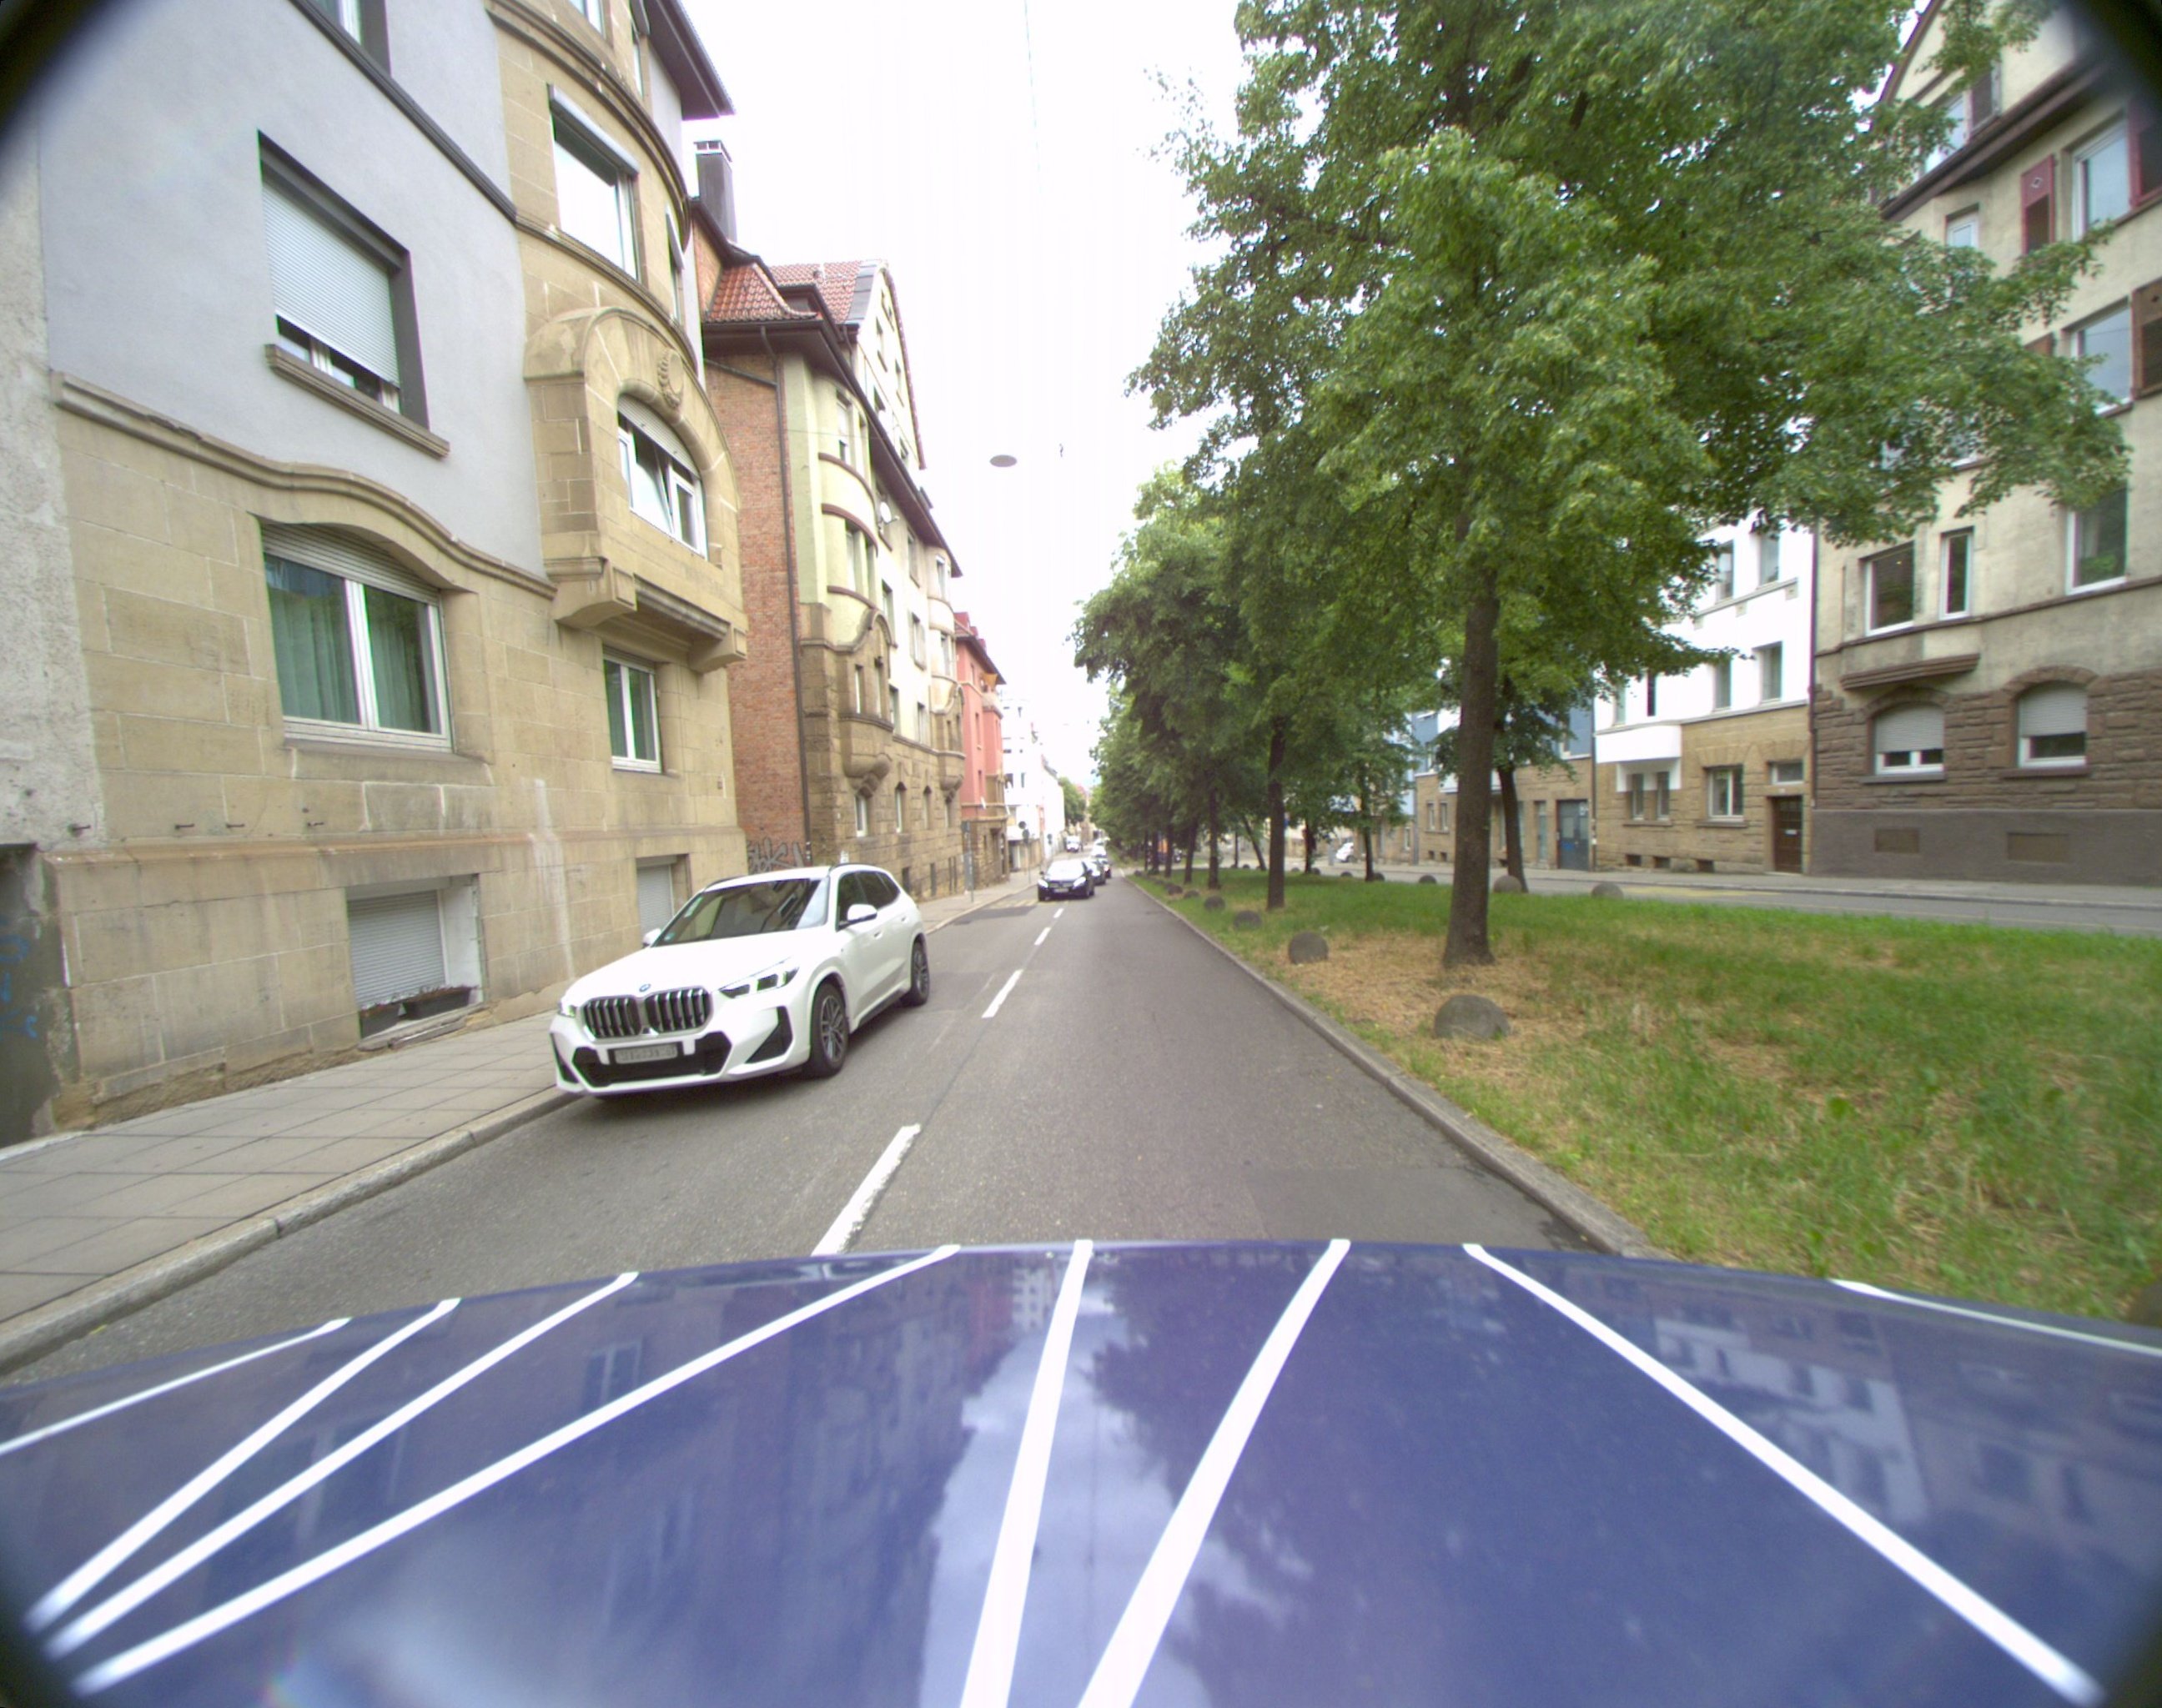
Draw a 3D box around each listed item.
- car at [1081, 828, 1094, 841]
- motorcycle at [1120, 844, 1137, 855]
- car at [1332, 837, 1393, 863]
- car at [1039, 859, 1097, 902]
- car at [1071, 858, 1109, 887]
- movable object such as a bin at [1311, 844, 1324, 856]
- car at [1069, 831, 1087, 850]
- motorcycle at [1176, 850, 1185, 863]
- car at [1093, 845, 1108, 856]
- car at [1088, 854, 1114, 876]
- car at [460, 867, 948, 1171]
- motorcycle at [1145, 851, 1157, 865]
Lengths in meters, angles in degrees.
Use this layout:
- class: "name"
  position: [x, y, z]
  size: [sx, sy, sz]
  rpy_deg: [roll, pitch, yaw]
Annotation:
- class: "car"
  position: [1.683, -5.077, 197.065]
  size: [3.026, 3.045, 7.165]
  rpy_deg: [-2, 3, 0]
- class: "motorcycle"
  position: [5.932, -0.571, 95.038]
  size: [2.040, 1.126, 0.454]
  rpy_deg: [-3, 4, 2]
- class: "car"
  position: [22.044, -0.314, 59.564]
  size: [4.007, 1.462, 1.870]
  rpy_deg: [-7, 3, -1]
- class: "car"
  position: [-0.411, 0.939, 28.736]
  size: [1.854, 1.361, 4.281]
  rpy_deg: [-4, 0, 3]
- class: "car"
  position: [0.547, 1.016, 42.739]
  size: [1.854, 1.361, 4.281]
  rpy_deg: [-4, 0, 3]
- class: "movable object such as a bin"
  position: [20.837, -0.343, 66.959]
  size: [0.888, 0.988, 0.668]
  rpy_deg: [-5, 2, 0]
- class: "car"
  position: [-0.543, -2.435, 135.075]
  size: [3.026, 3.045, 7.165]
  rpy_deg: [-2, 3, 0]
- class: "motorcycle"
  position: [8.997, 0.223, 68.679]
  size: [0.750, 1.068, 1.851]
  rpy_deg: [-3, 4, 9]
- class: "car"
  position: [2.552, -0.452, 98.910]
  size: [1.783, 1.420, 4.281]
  rpy_deg: [-1, 0, 2]
- class: "car"
  position: [1.441, 0.764, 54.002]
  size: [1.783, 1.420, 4.281]
  rpy_deg: [-1, 0, 2]
- class: "car"
  position: [-2.758, 1.079, 7.012]
  size: [1.854, 1.595, 4.564]
  rpy_deg: [-7, 0, 3]
- class: "motorcycle"
  position: [6.328, 0.359, 68.385]
  size: [0.888, 1.090, 2.481]
  rpy_deg: [-3, 3, 9]
